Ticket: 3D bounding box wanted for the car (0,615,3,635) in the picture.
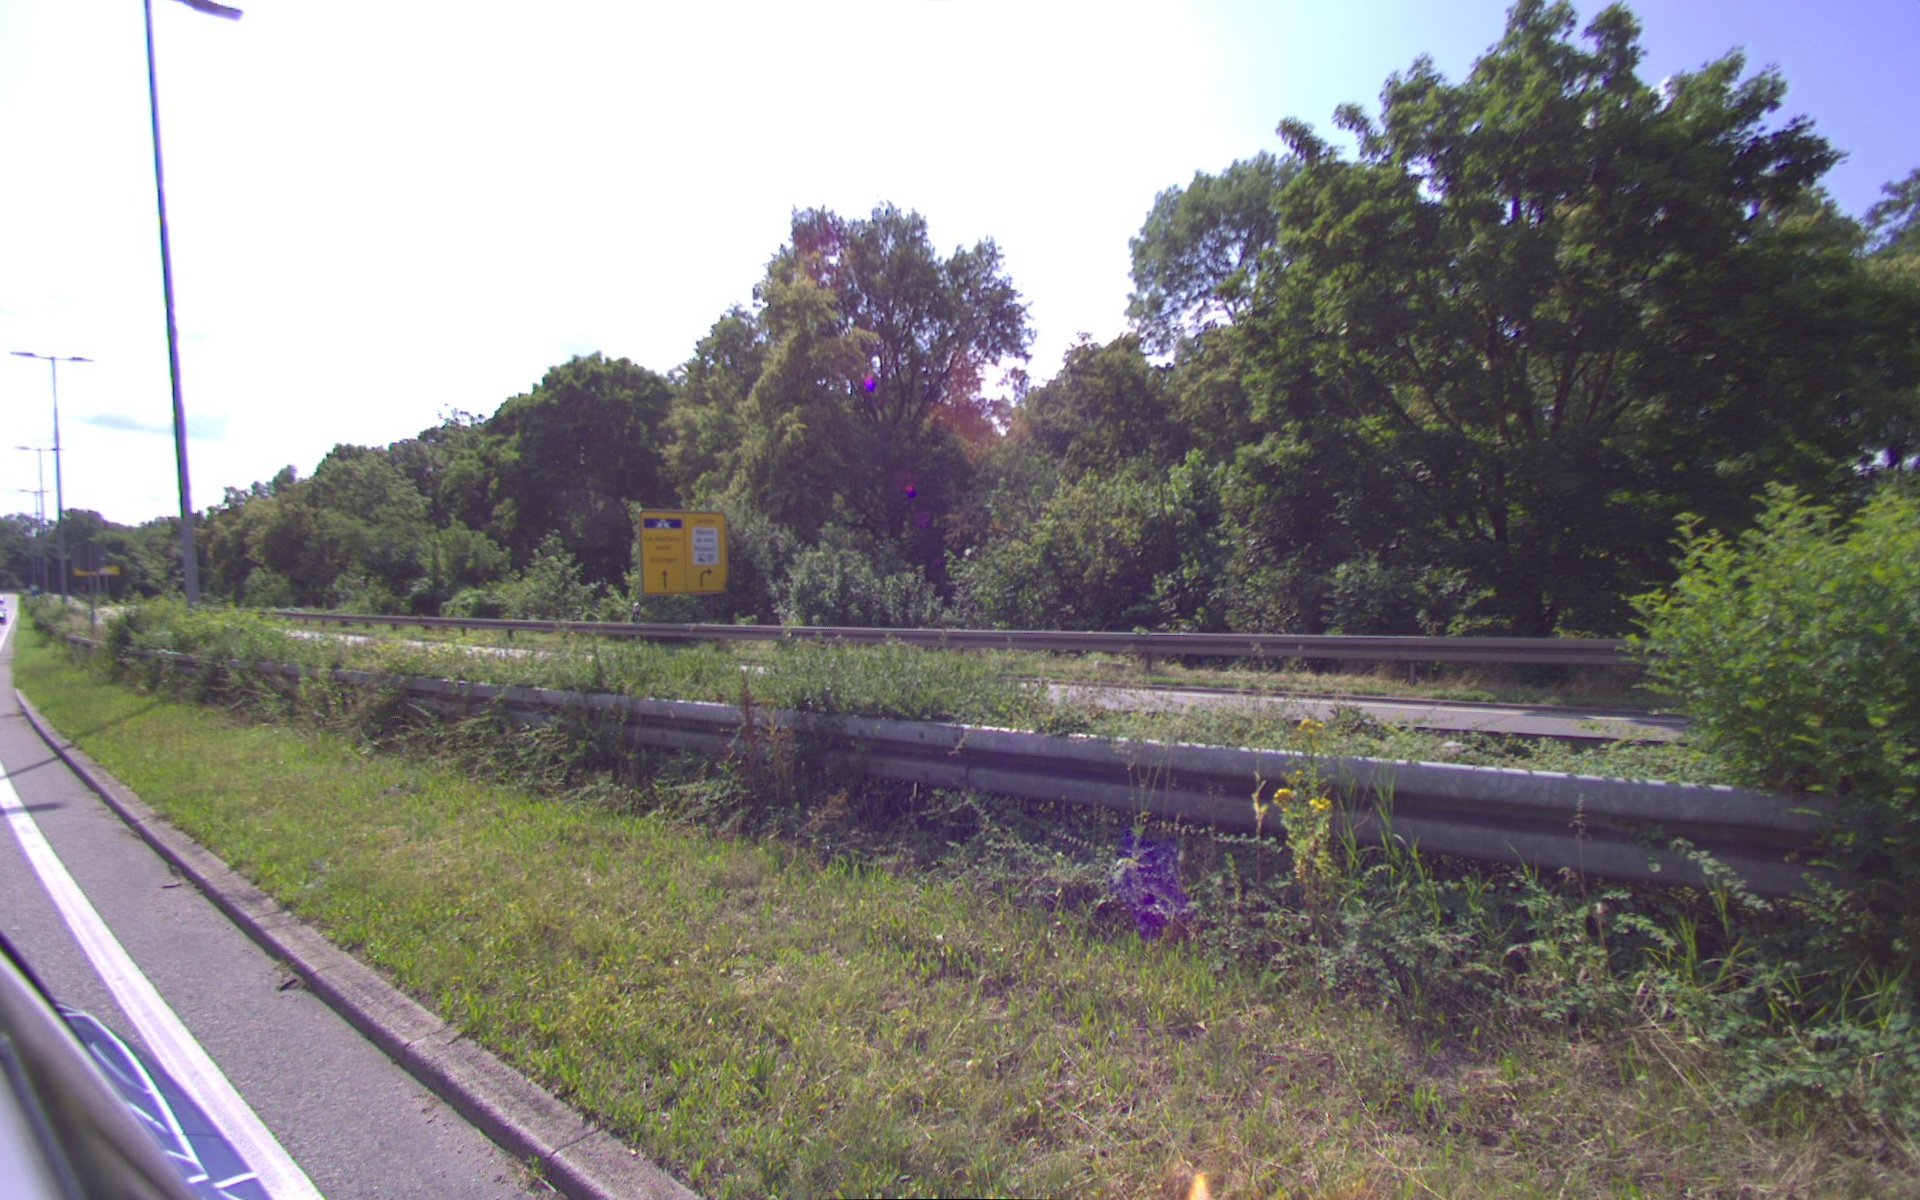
[{"bbox_3d":[-67.427,1.742,69.940,1.771,1.386,4.004,-2,0,-42],"label":"car"}]
